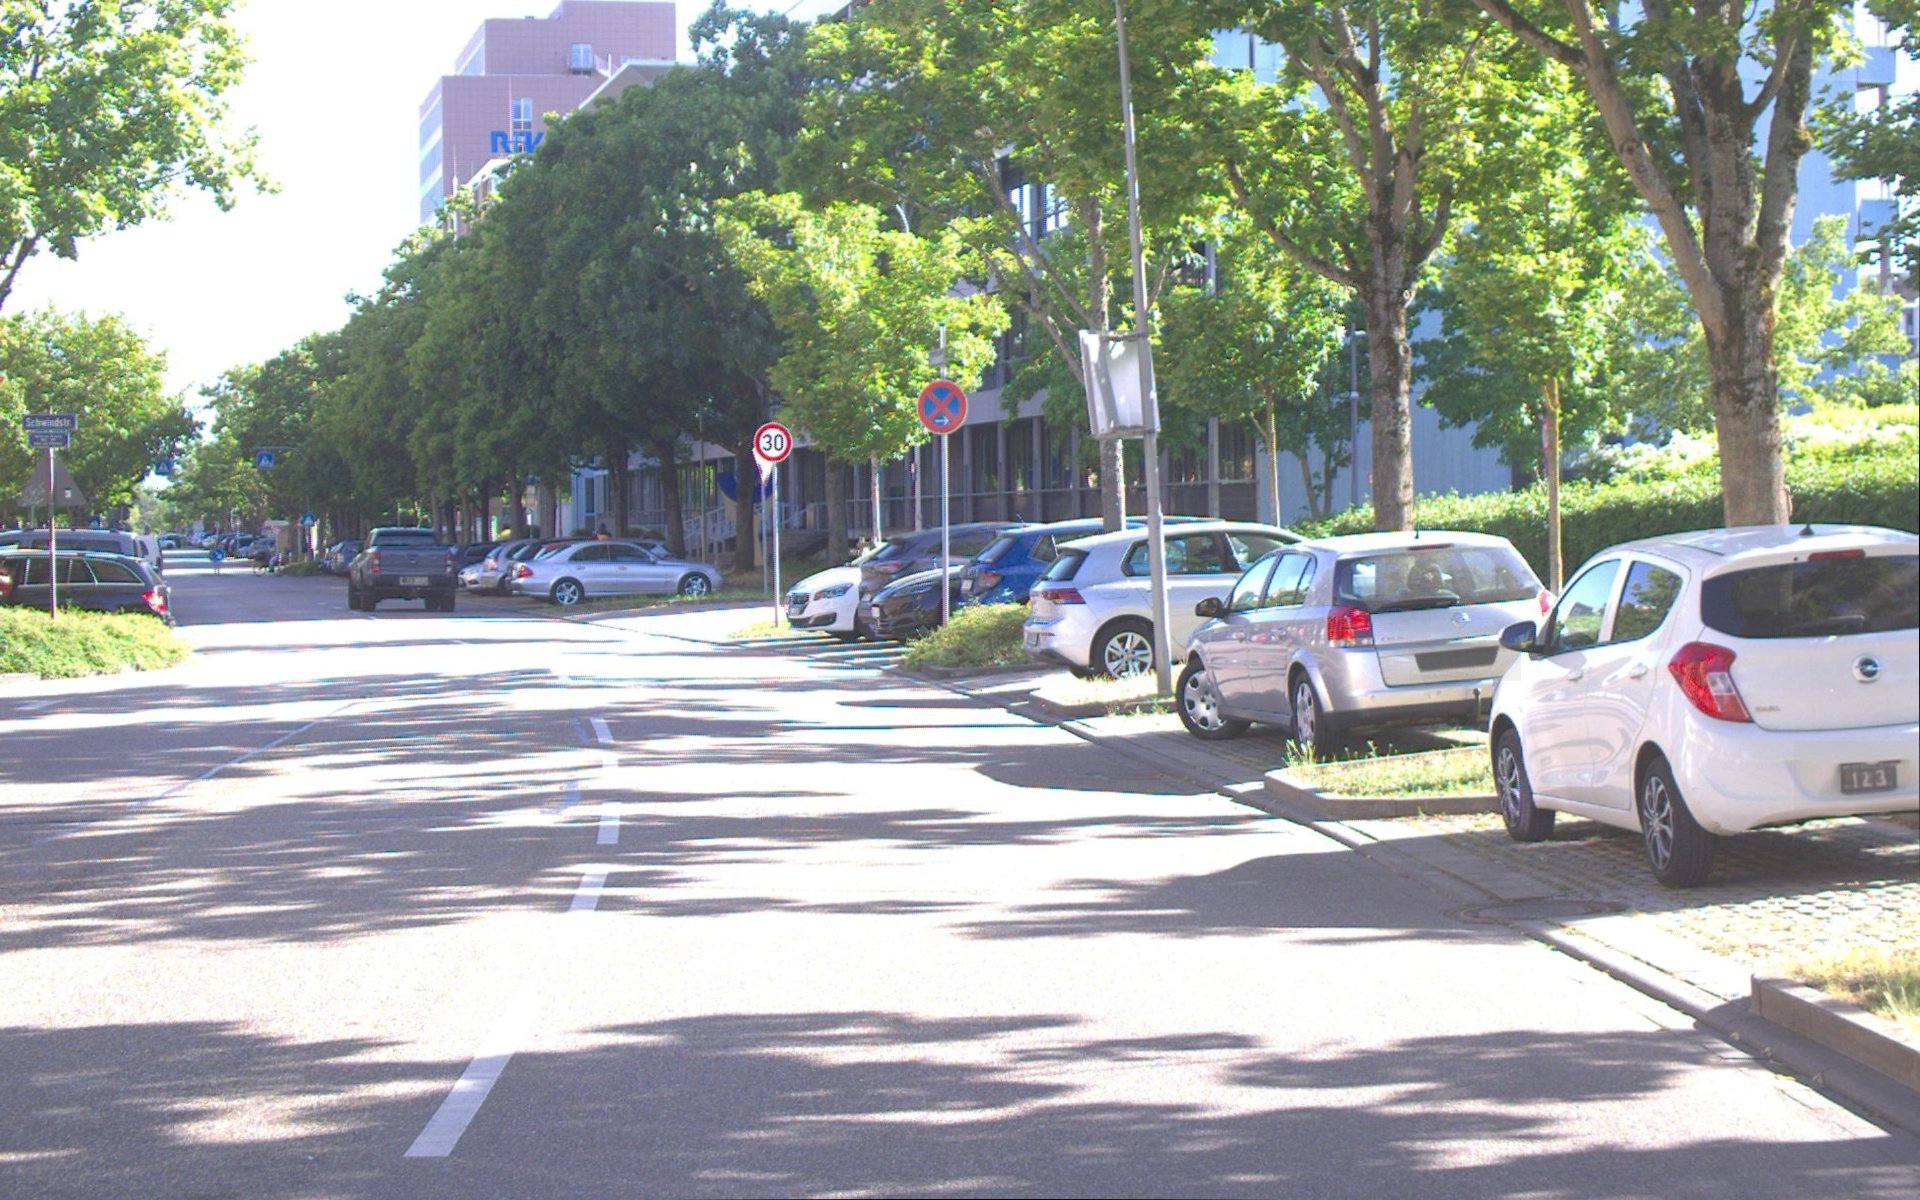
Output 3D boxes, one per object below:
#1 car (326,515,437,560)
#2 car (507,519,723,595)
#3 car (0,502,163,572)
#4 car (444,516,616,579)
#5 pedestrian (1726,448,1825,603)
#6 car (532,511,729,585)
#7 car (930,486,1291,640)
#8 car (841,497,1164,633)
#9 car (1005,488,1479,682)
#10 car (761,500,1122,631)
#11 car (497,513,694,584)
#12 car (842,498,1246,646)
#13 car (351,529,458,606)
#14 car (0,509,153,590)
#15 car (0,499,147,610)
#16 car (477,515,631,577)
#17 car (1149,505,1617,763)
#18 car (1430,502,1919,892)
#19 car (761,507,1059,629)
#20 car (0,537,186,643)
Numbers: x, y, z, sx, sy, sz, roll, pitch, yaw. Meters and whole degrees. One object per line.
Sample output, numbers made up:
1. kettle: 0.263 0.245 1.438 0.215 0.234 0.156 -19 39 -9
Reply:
1. car: -24.390 -2.627 144.919 4.350 1.698 1.813 -3 2 -16
2. car: -7.755 -0.977 77.149 4.577 1.470 1.747 -3 2 -13
3. car: -26.069 -1.845 100.792 5.256 1.960 1.943 0 1 -13
4. car: -11.772 -1.440 94.096 4.284 1.488 2.004 -3 2 -20
5. pedestrian: 8.285 -0.756 34.954 0.606 1.537 0.937 -2 1 -12
6. car: -7.907 -1.251 82.333 4.514 1.537 1.922 -3 2 -10
7. car: 1.737 -0.442 40.193 3.804 1.443 1.745 -5 2 -11
8. car: 0.536 -0.468 45.344 3.874 1.509 1.751 -4 1 -13
9. car: 2.603 -0.154 32.253 4.088 1.424 1.643 -5 1 -6
10. car: -0.266 -0.488 47.792 4.548 1.509 1.983 -4 1 -19
11. car: -9.081 -1.296 85.508 4.514 1.537 1.922 -3 2 -17
12. car: 1.015 -0.363 42.835 4.548 1.509 2.159 -4 1 -13
13. car: -12.215 -0.731 75.460 1.993 1.634 4.001 0 1 -14
14. car: -23.733 -1.348 91.051 4.487 2.082 2.083 0 1 -11
15. car: -15.509 -0.767 57.094 3.890 1.805 1.786 0 1 -13
16. car: -10.819 -1.442 91.576 3.742 1.488 1.617 -3 2 -20
17. car: 2.781 0.169 23.734 1.808 1.488 4.625 -4 2 -10
18. car: 3.474 0.345 15.899 1.643 1.488 3.766 -4 2 -6
19. car: -0.744 -0.470 50.351 3.947 1.509 1.702 -4 1 -19
20. car: -12.954 -0.150 47.602 4.261 1.419 1.740 1 1 -10
